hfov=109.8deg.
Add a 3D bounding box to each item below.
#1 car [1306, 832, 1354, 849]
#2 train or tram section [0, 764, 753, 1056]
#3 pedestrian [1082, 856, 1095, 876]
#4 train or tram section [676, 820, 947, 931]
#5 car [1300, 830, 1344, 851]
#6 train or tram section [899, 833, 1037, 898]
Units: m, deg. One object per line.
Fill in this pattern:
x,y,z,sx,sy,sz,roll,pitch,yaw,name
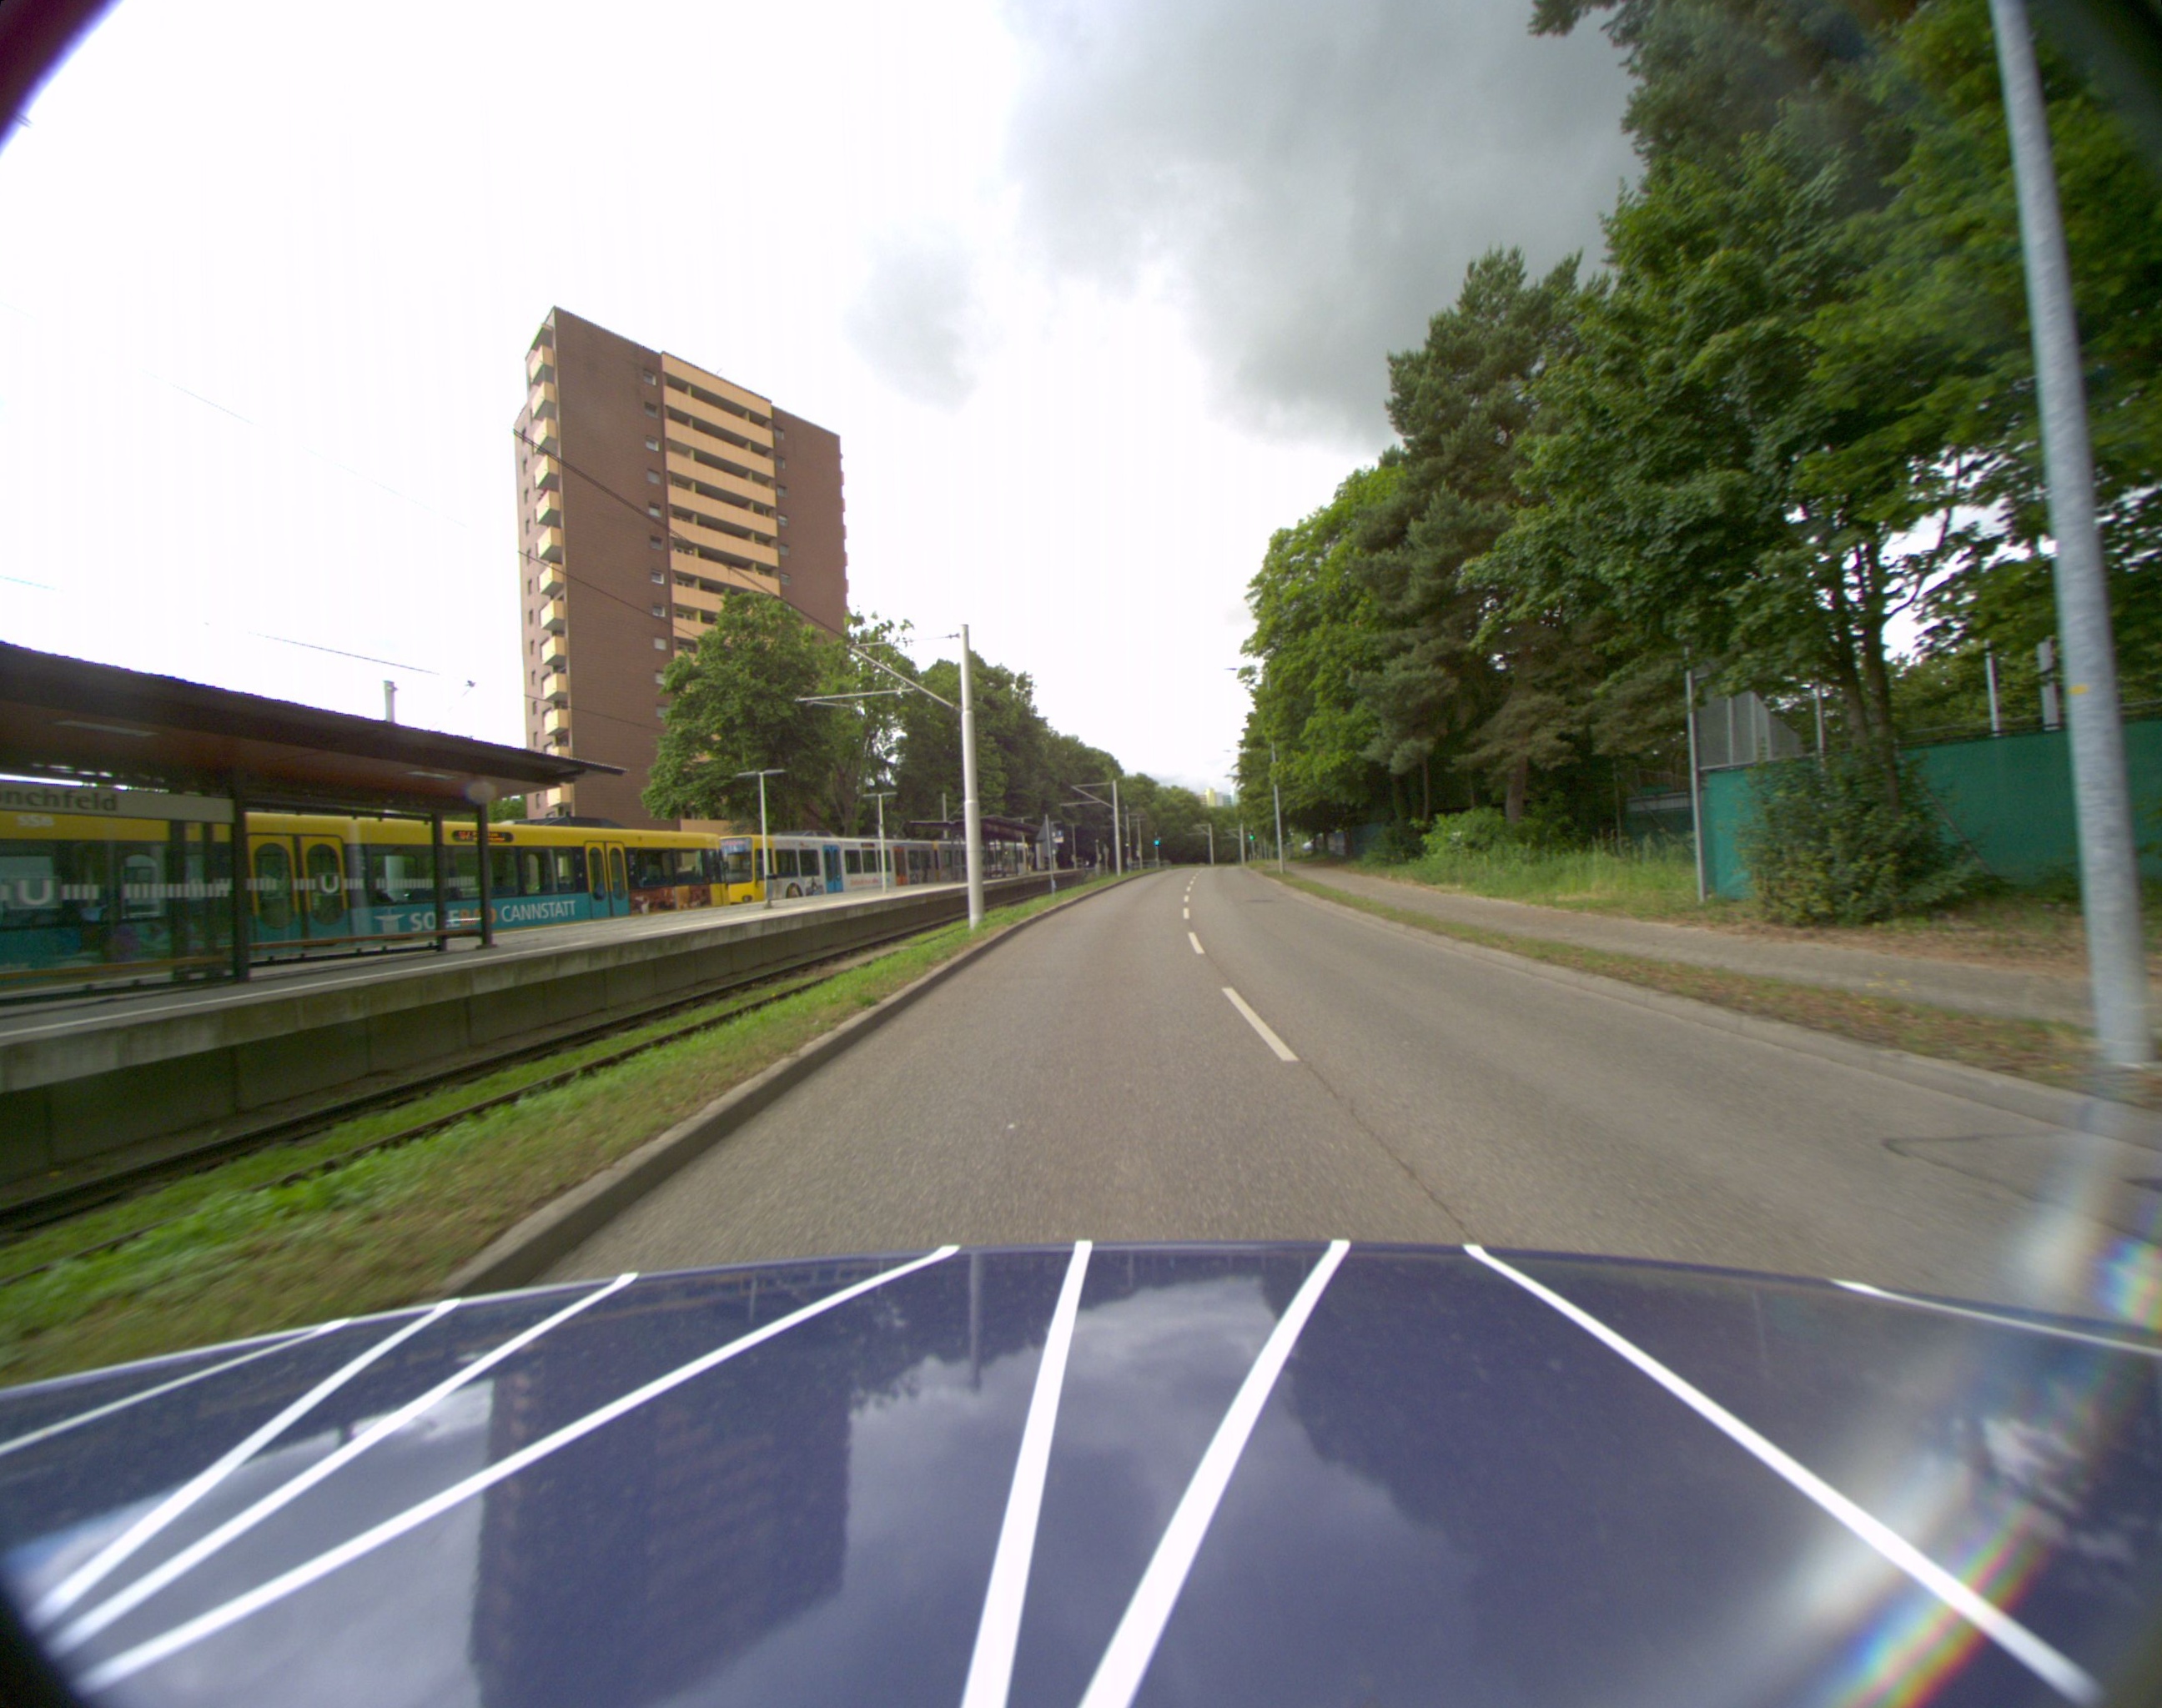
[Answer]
29.292,-1.567,89.357,5.163,1.552,1.889,-5,-2,20,car
-14.278,0.805,17.406,2.819,3.714,19.523,-5,0,6,train or tram section
0.662,1.095,69.145,0.986,1.747,0.730,-4,-1,4,pedestrian
-11.362,0.740,36.548,2.818,3.776,18.948,-5,0,11,train or tram section
30.553,-1.706,96.311,5.163,2.093,2.218,-5,-2,20,car
-7.397,0.596,55.043,2.818,3.714,18.550,-5,0,14,train or tram section
